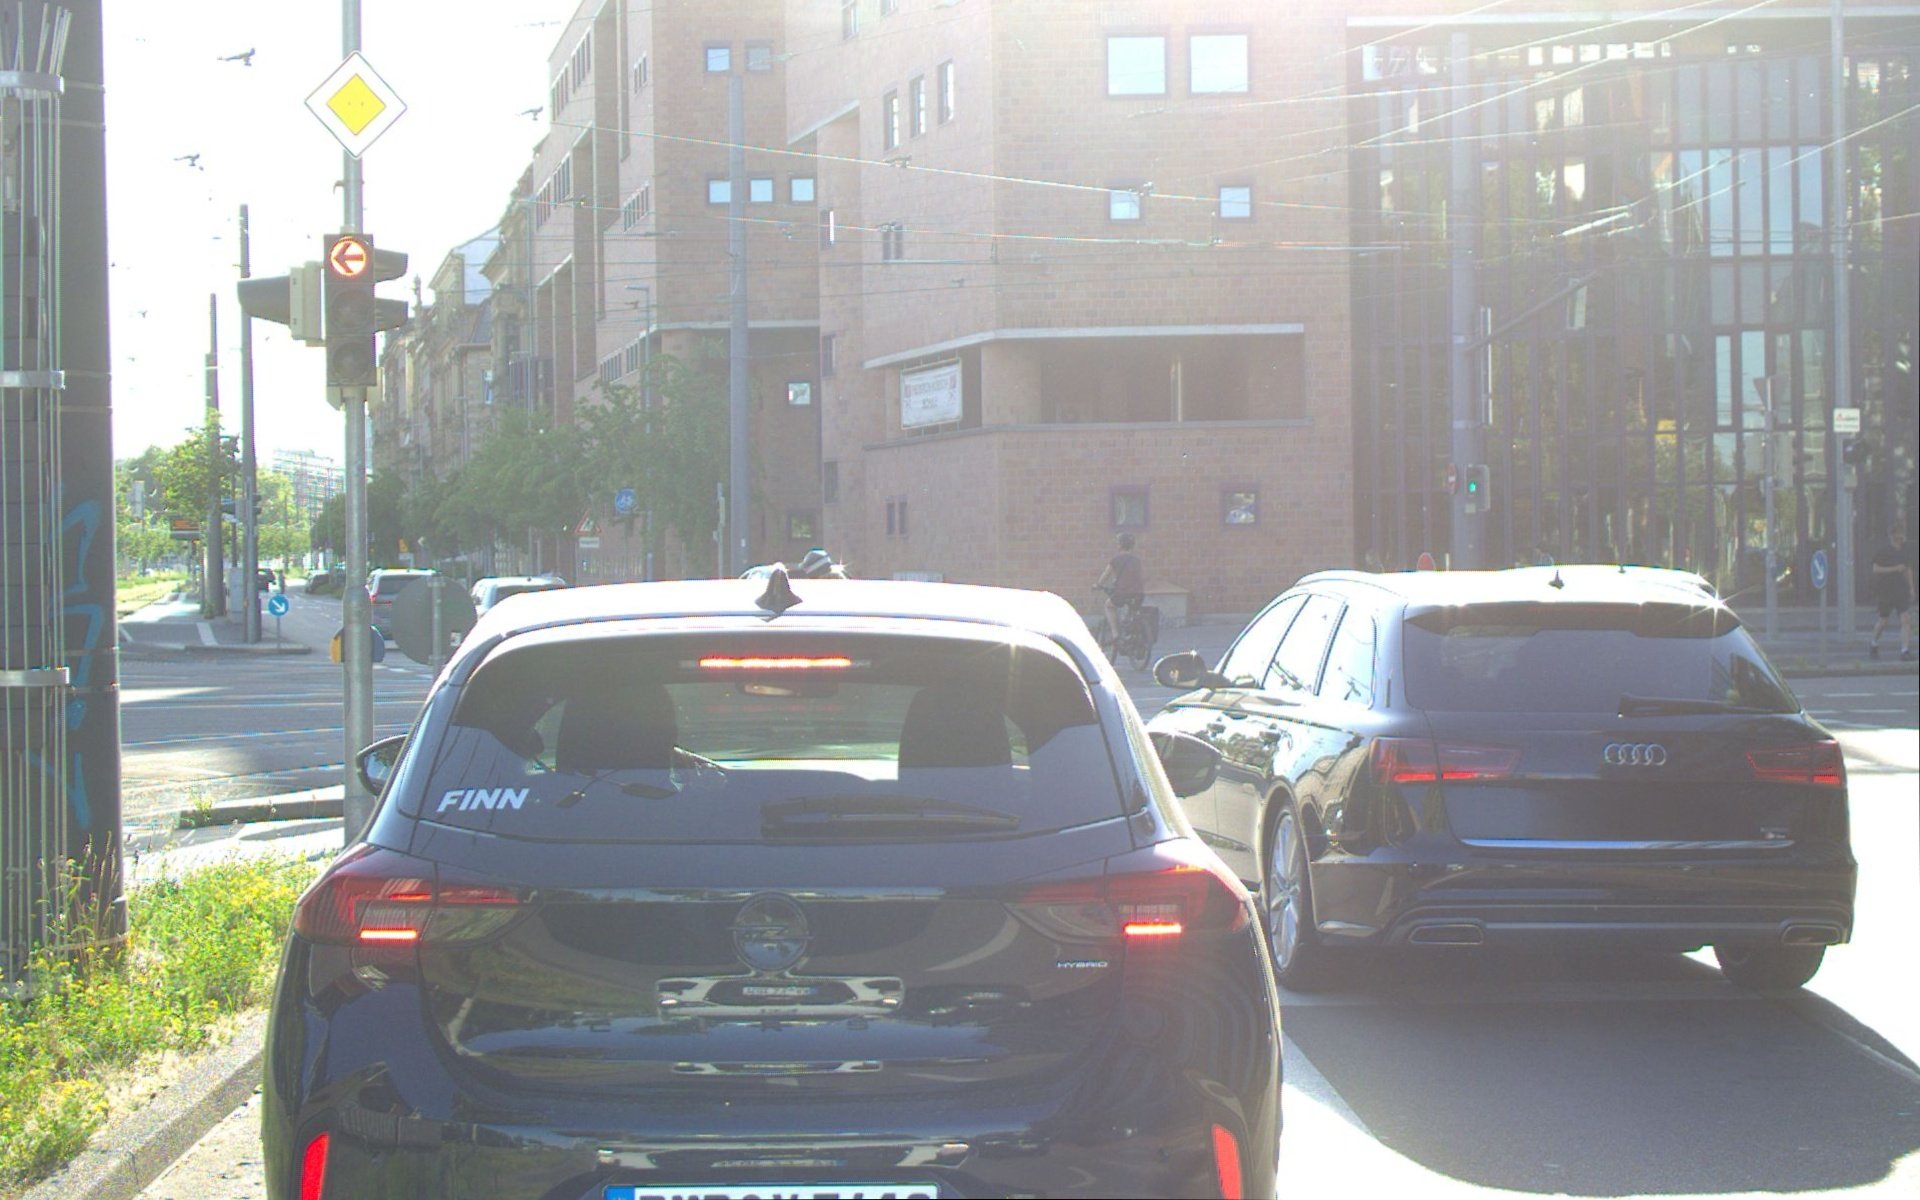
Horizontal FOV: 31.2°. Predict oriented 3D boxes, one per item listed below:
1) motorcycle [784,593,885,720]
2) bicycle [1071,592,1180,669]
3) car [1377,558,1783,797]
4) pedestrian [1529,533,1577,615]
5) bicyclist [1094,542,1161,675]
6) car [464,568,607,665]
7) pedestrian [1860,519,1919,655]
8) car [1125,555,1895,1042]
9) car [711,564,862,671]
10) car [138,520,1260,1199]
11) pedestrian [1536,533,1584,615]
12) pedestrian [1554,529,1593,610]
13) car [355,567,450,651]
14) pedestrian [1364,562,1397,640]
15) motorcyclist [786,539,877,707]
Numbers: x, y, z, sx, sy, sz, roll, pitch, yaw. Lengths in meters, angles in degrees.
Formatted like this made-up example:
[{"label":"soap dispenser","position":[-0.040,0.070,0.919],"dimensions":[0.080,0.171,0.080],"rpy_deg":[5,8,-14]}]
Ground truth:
[{"label":"motorcycle","position":[-1.161,0.514,32.138],"dimensions":[0.775,1.111,1.969],"rpy_deg":[-1,1,3]},{"label":"bicycle","position":[2.243,0.405,46.850],"dimensions":[0.491,0.994,2.328],"rpy_deg":[-1,1,-23]},{"label":"car","position":[4.086,0.457,23.307],"dimensions":[1.807,1.452,4.001],"rpy_deg":[0,1,-3]},{"label":"pedestrian","position":[11.660,-0.513,67.588],"dimensions":[0.900,1.611,0.560],"rpy_deg":[-1,1,8]},{"label":"bicyclist","position":[2.273,0.109,46.713],"dimensions":[0.577,1.785,0.864],"rpy_deg":[-1,1,-22]},{"label":"car","position":[-6.303,0.209,50.764],"dimensions":[1.737,1.345,4.001],"rpy_deg":[-1,1,-12]},{"label":"pedestrian","position":[12.115,-0.169,44.669],"dimensions":[0.707,1.753,0.560],"rpy_deg":[-1,1,25]},{"label":"car","position":[1.835,0.591,12.971],"dimensions":[1.811,1.487,4.497],"rpy_deg":[-1,1,-5]},{"label":"car","position":[-2.572,0.226,50.181],"dimensions":[1.807,1.452,4.001],"rpy_deg":[0,1,-9]},{"label":"car","position":[-0.362,0.576,7.085],"dimensions":[1.649,1.428,4.000],"rpy_deg":[-1,1,1]},{"label":"pedestrian","position":[11.926,-0.522,68.323],"dimensions":[0.900,1.611,0.560],"rpy_deg":[-1,1,8]},{"label":"pedestrian","position":[12.308,-0.610,68.974],"dimensions":[0.738,1.611,0.560],"rpy_deg":[-1,1,8]},{"label":"car","position":[-11.433,0.153,70.329],"dimensions":[1.737,1.645,4.001],"rpy_deg":[-1,1,-12]},{"label":"pedestrian","position":[7.838,0.014,64.084],"dimensions":[0.529,1.425,0.598],"rpy_deg":[-1,1,-1]},{"label":"motorcyclist","position":[-1.189,0.204,32.015],"dimensions":[0.745,1.525,1.021],"rpy_deg":[-1,1,2]}]
